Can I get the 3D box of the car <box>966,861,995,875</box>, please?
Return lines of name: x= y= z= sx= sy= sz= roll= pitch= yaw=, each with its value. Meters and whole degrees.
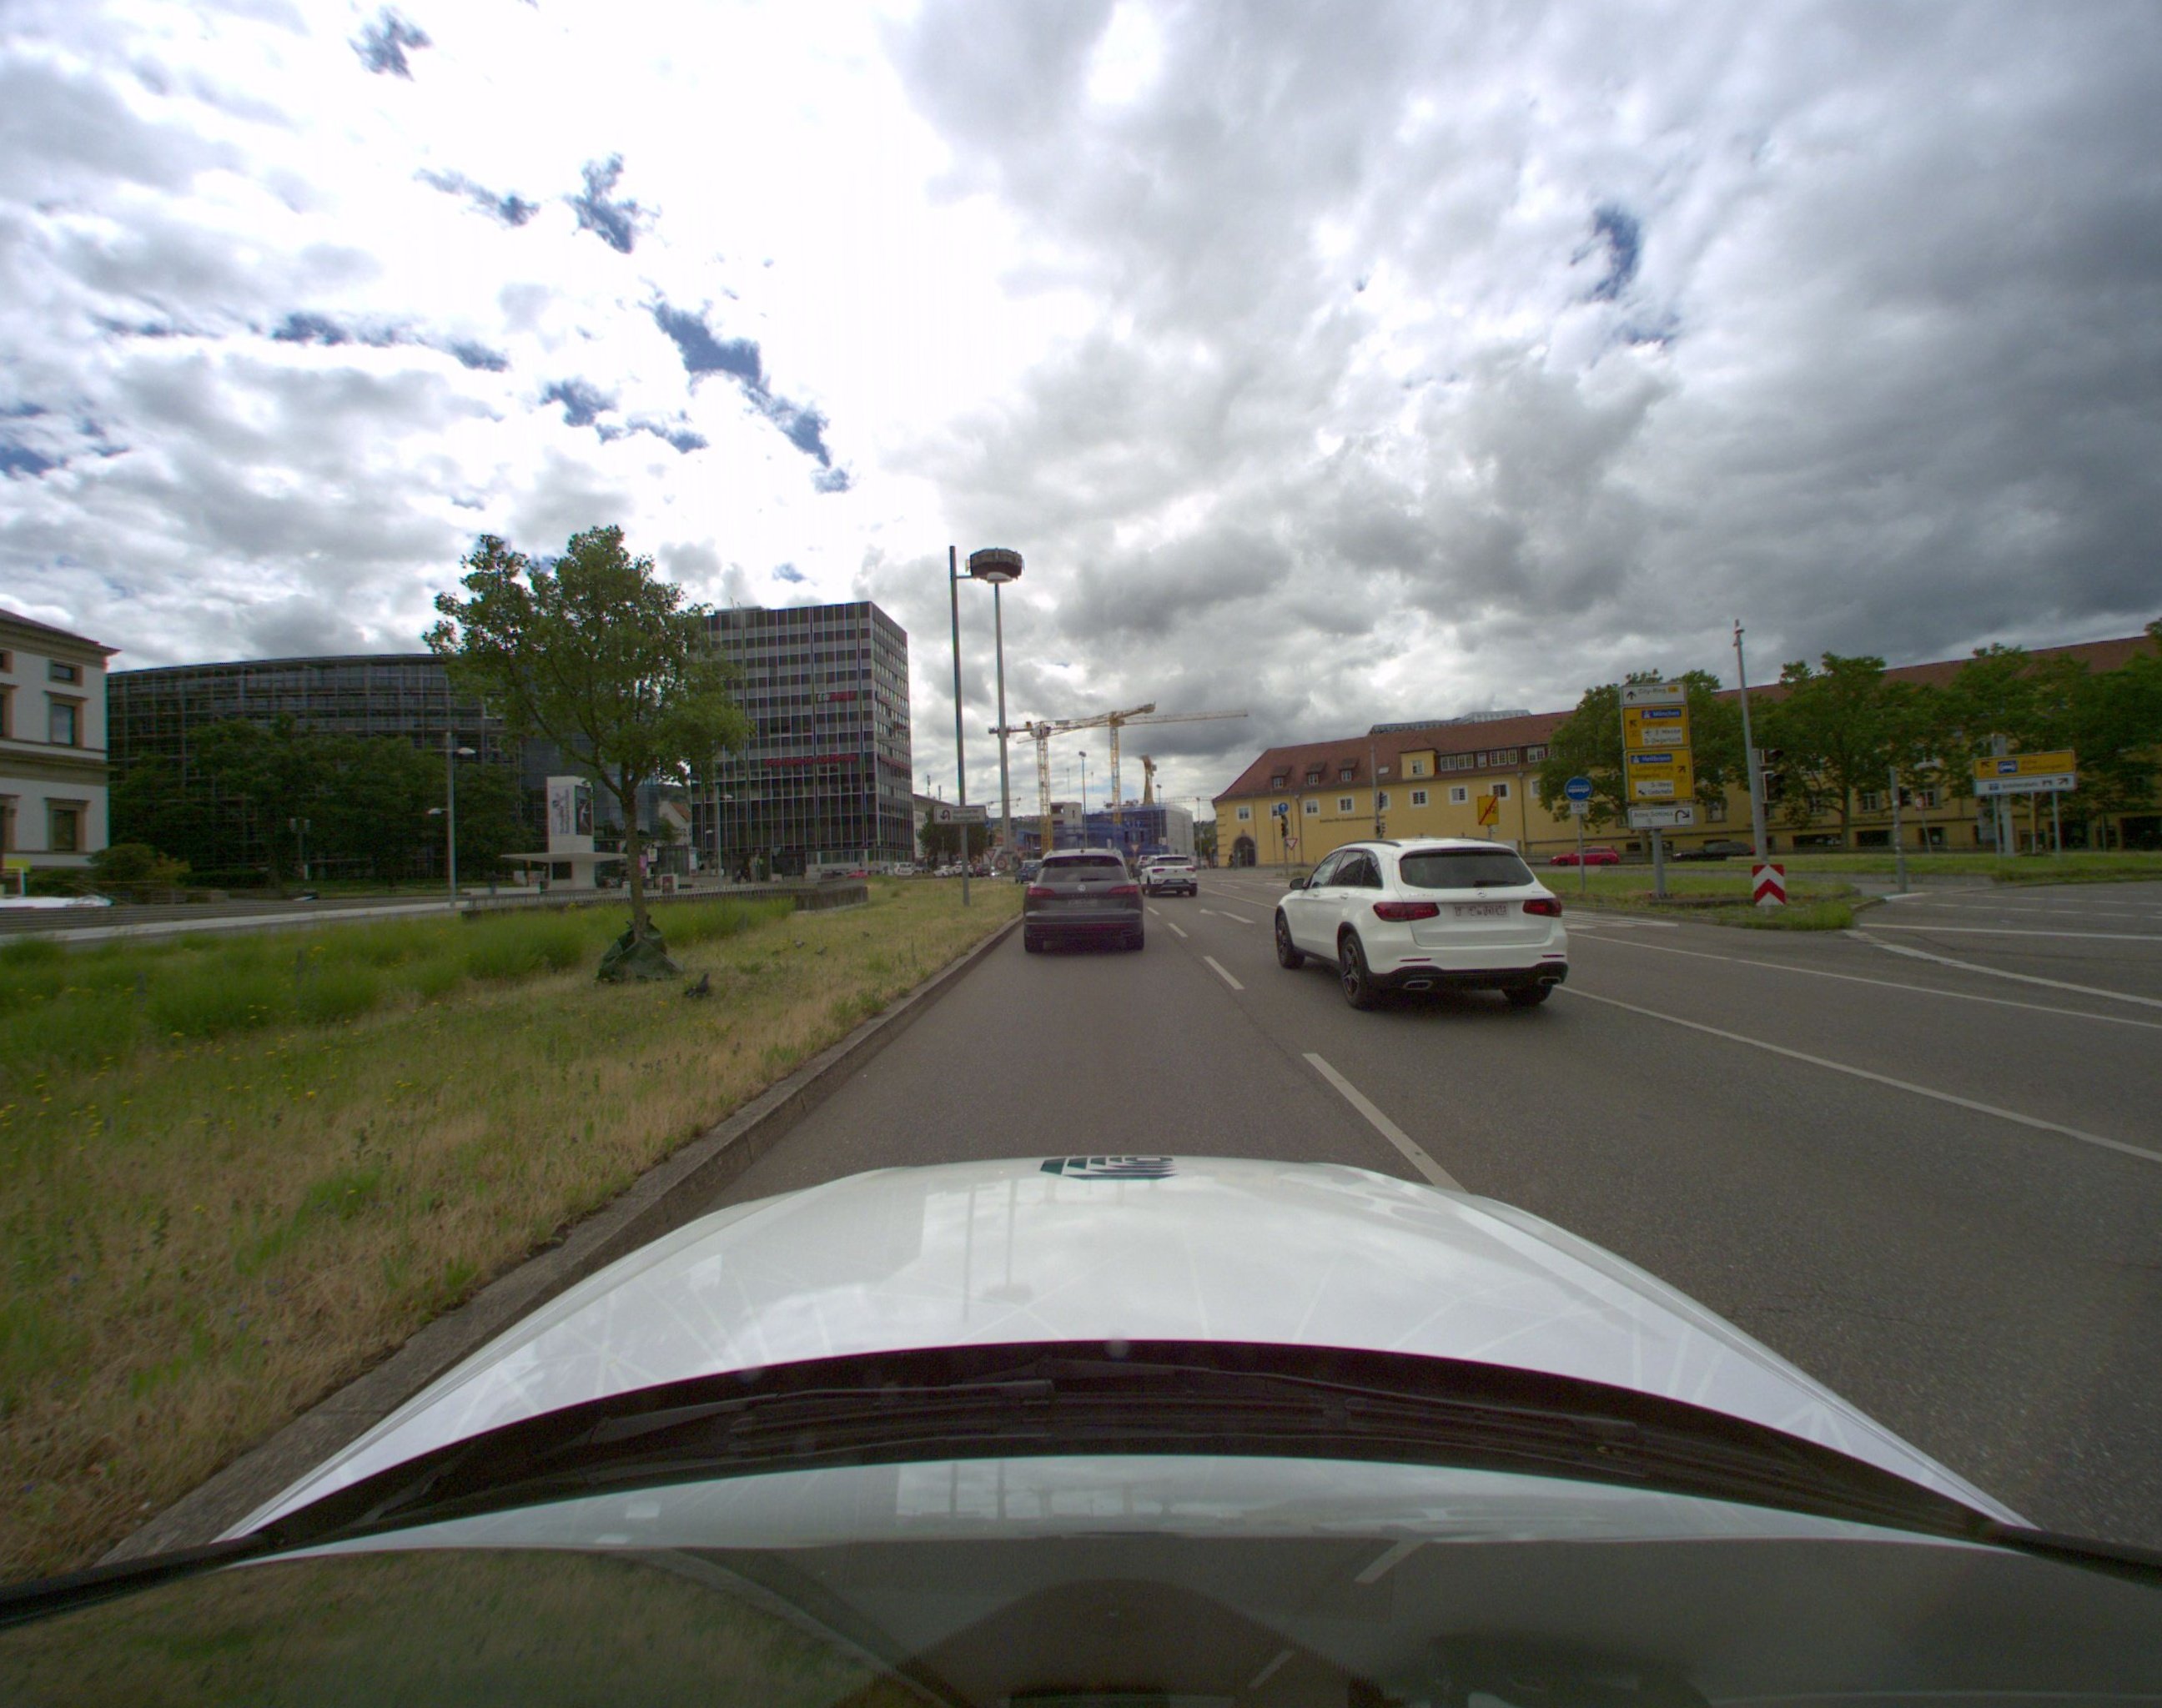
car: x=-10.584 y=1.429 z=85.582 sx=1.651 sy=1.396 sz=3.560 roll=-1 pitch=0 yaw=-32

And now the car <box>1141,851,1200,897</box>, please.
car: x=3.360 y=0.702 z=31.160 sx=1.886 sy=1.585 sz=3.802 roll=-2 pitch=0 yaw=2

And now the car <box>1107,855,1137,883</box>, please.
car: x=2.497 y=0.873 z=49.392 sx=1.712 sy=1.502 sz=4.147 roll=-2 pitch=0 yaw=3

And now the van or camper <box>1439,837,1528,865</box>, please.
van or camper: x=31.677 y=-0.221 z=64.140 sx=5.946 sy=2.014 sz=2.032 roll=-2 pitch=-1 yaw=37

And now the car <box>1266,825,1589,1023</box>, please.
car: x=3.477 y=0.591 z=9.186 sx=1.812 sy=1.647 sz=4.379 roll=-2 pitch=0 yaw=1

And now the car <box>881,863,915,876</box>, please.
car: x=-22.097 y=1.869 z=98.327 sx=2.263 sy=1.502 sz=4.558 roll=-2 pitch=0 yaw=-38

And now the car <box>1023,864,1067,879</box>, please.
car: x=-2.975 y=1.461 z=66.759 sx=1.683 sy=1.139 sz=4.025 roll=-1 pitch=-1 yaw=-36

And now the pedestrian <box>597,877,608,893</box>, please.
pedestrian: x=-34.981 y=2.261 z=59.555 sx=0.473 sy=1.081 sz=0.560 roll=-1 pitch=-1 yaw=3

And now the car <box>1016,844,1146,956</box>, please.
car: x=0.050 y=0.695 z=14.358 sx=1.926 sy=1.647 sz=4.001 roll=-2 pitch=0 yaw=1

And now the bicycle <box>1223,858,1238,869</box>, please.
bicycle: x=15.766 y=1.020 z=85.905 sx=0.921 sy=1.159 sz=2.462 roll=-1 pitch=0 yaw=-3

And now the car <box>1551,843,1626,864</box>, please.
car: x=37.386 y=-0.029 z=60.066 sx=4.632 sy=1.420 sz=1.607 roll=-2 pitch=-1 yaw=33

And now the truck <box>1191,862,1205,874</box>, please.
truck: x=26.255 y=3.134 z=182.639 sx=2.111 sy=2.453 sz=4.849 roll=-2 pitch=0 yaw=17

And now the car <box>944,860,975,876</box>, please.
car: x=-11.761 y=1.351 z=78.677 sx=1.825 sy=1.496 sz=3.870 roll=-2 pitch=0 yaw=-28

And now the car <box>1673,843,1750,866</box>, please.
car: x=43.385 y=0.023 z=56.186 sx=4.037 sy=1.413 sz=1.670 roll=-2 pitch=-1 yaw=33

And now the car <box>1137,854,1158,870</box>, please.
car: x=6.442 y=0.738 z=79.170 sx=1.796 sy=1.502 sz=3.982 roll=-2 pitch=0 yaw=1

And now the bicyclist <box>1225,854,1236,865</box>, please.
bicyclist: x=15.760 y=0.578 z=85.905 sx=0.921 sy=1.159 sz=0.724 roll=-1 pitch=-1 yaw=-3

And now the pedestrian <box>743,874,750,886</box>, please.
pedestrian: x=-41.771 y=3.245 z=101.731 sx=0.627 sy=1.593 sz=0.584 roll=-1 pitch=-1 yaw=-39

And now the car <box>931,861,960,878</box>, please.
car: x=-16.163 y=1.832 z=97.005 sx=1.907 sy=1.610 sz=3.960 roll=-5 pitch=5 yaw=-32

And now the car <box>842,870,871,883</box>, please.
car: x=-29.032 y=2.930 z=105.327 sx=3.930 sy=1.502 sz=1.735 roll=-2 pitch=0 yaw=41

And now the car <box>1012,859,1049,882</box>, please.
car: x=-3.282 y=1.048 z=52.563 sx=1.794 sy=1.356 sz=4.053 roll=-2 pitch=-1 yaw=-12
